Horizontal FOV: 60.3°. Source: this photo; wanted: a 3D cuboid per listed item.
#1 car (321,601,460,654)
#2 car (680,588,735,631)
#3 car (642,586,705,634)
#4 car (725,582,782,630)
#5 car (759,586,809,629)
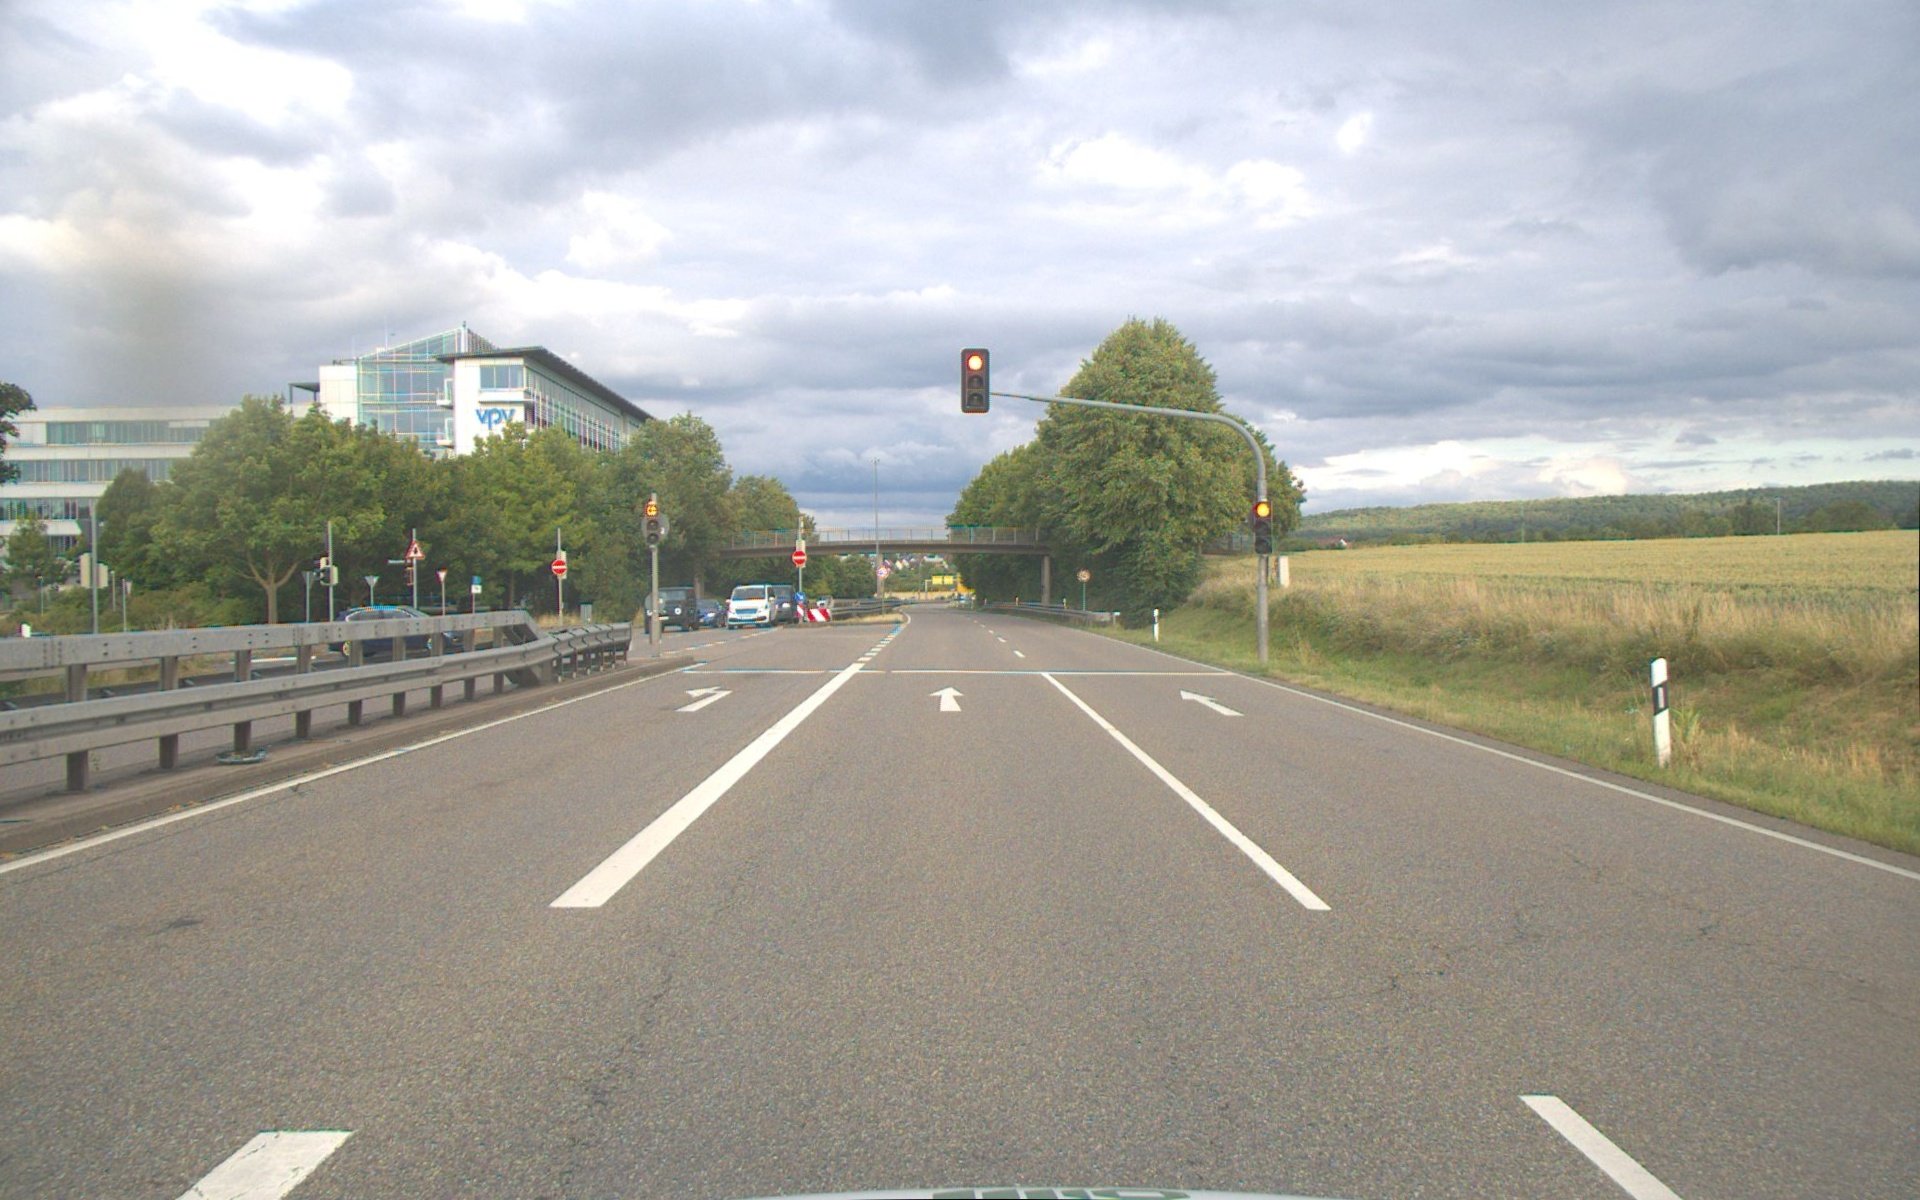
[{"bbox_3d":[-18.045,0.869,52.583,3.916,1.579,1.881,1,0,-11],"label":"car"},{"bbox_3d":[-12.511,0.460,82.161,2.041,2.049,5.214,1,0,-2],"label":"car"},{"bbox_3d":[-12.868,0.429,74.656,2.041,2.049,5.214,1,0,-2],"label":"car"},{"bbox_3d":[-9.309,0.280,74.811,2.041,2.049,5.214,1,0,-2],"label":"car"},{"bbox_3d":[-8.745,0.359,82.554,2.041,2.049,5.214,1,0,-2],"label":"car"}]
